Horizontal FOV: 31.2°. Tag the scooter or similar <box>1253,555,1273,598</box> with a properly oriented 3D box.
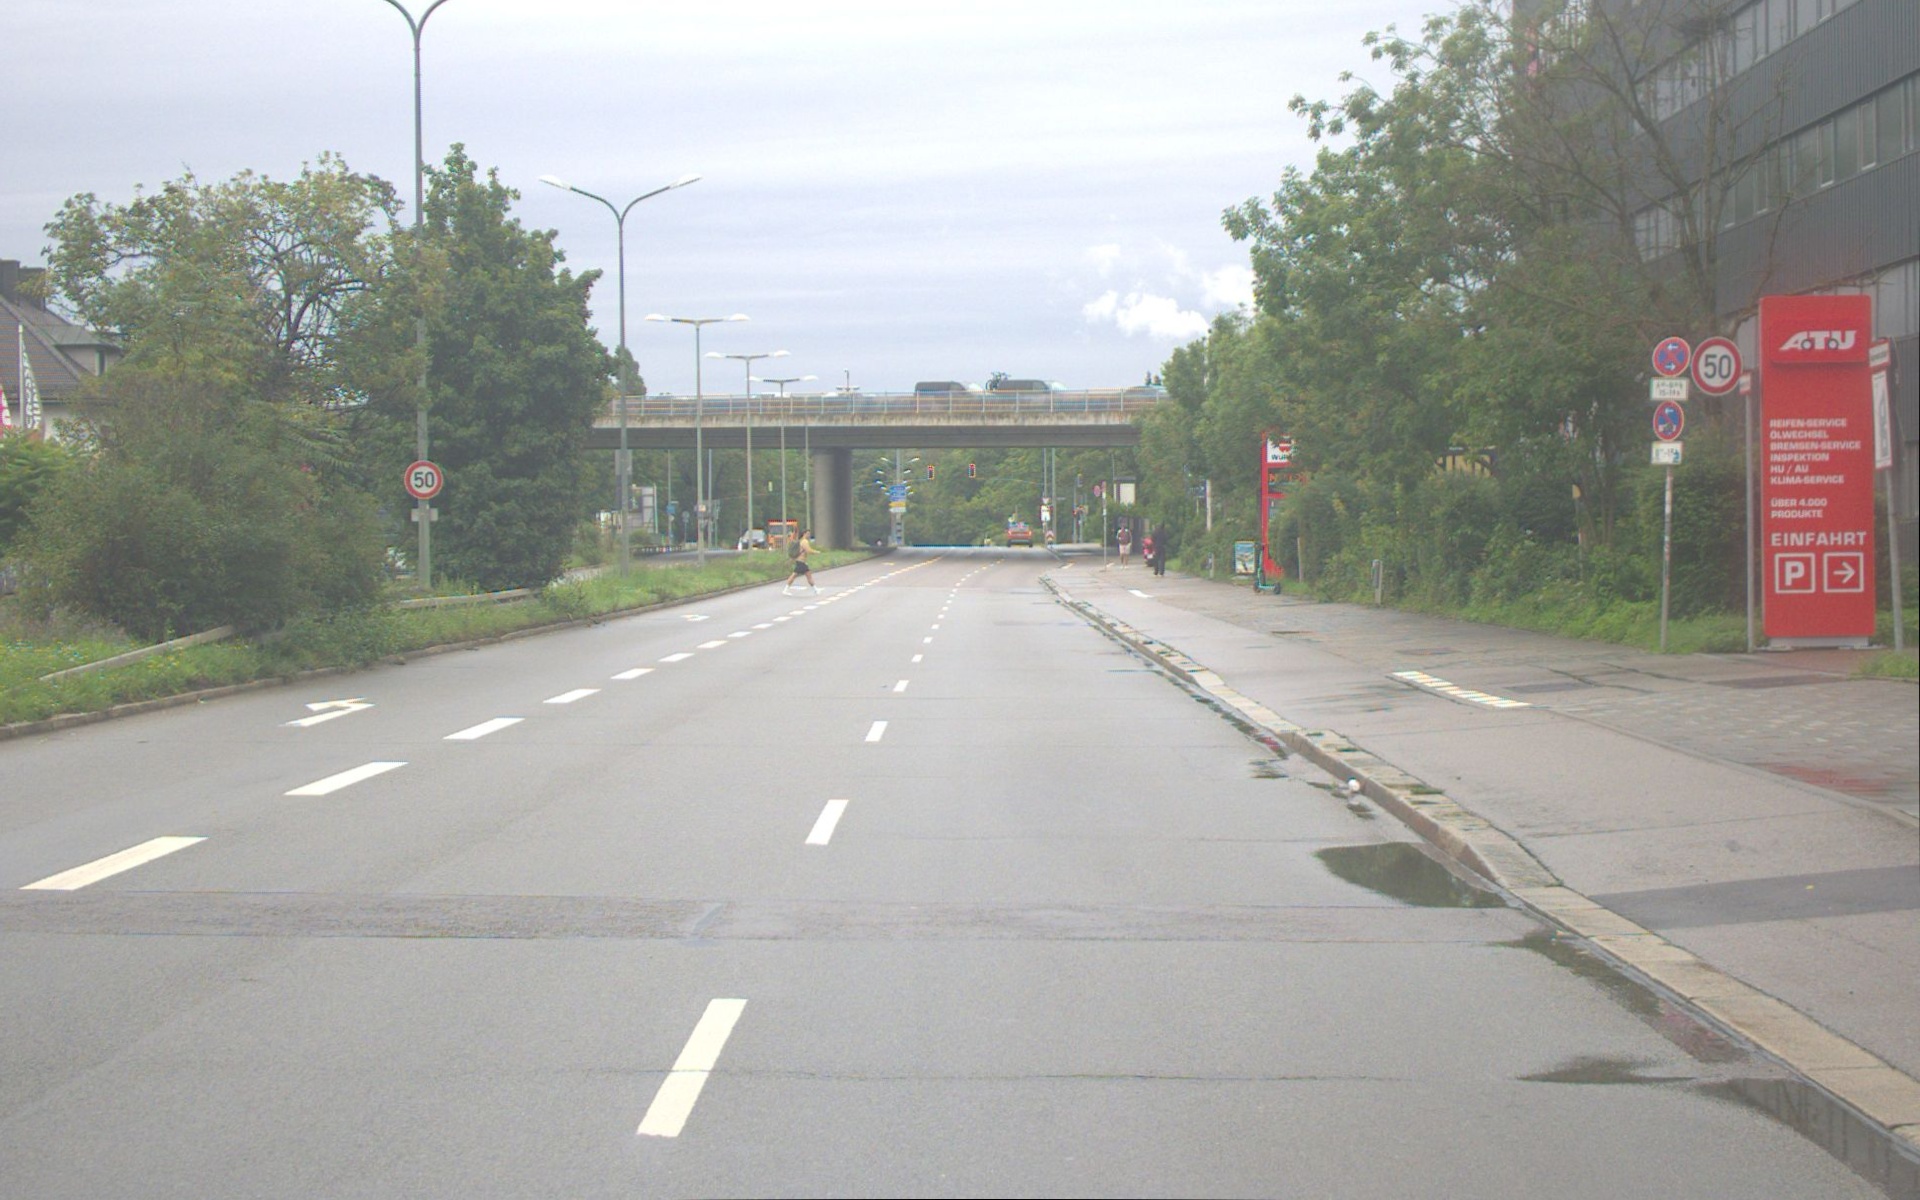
[{"bbox_3d":[7.287,-0.575,82.737,0.304,1.000,1.220,-2,1,-2],"label":"scooter or similar"}]

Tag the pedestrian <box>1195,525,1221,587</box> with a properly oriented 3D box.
[{"bbox_3d":[7.646,-1.363,105.957,0.689,1.869,0.662,-2,1,0],"label":"pedestrian"}]

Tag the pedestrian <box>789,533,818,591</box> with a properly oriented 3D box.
[{"bbox_3d":[-4.428,-1.074,97.365,0.660,1.611,0.691,-2,1,6],"label":"pedestrian"}]

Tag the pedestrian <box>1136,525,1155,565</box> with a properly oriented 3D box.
[{"bbox_3d":[7.612,-2.268,141.056,0.689,1.611,0.662,-2,1,0],"label":"pedestrian"}]

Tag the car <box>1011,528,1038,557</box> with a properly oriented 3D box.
[{"bbox_3d":[4.501,-4.010,240.280,1.812,2.007,3.833,1,1,2],"label":"car"}]

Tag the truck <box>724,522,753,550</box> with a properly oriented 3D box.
[{"bbox_3d":[-16.315,-4.694,253.288,1.993,2.007,4.357,-2,1,-2],"label":"truck"}]

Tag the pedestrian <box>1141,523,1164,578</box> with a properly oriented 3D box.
[{"bbox_3d":[6.615,-1.696,117.949,0.689,1.869,0.662,-2,1,0],"label":"pedestrian"}]
